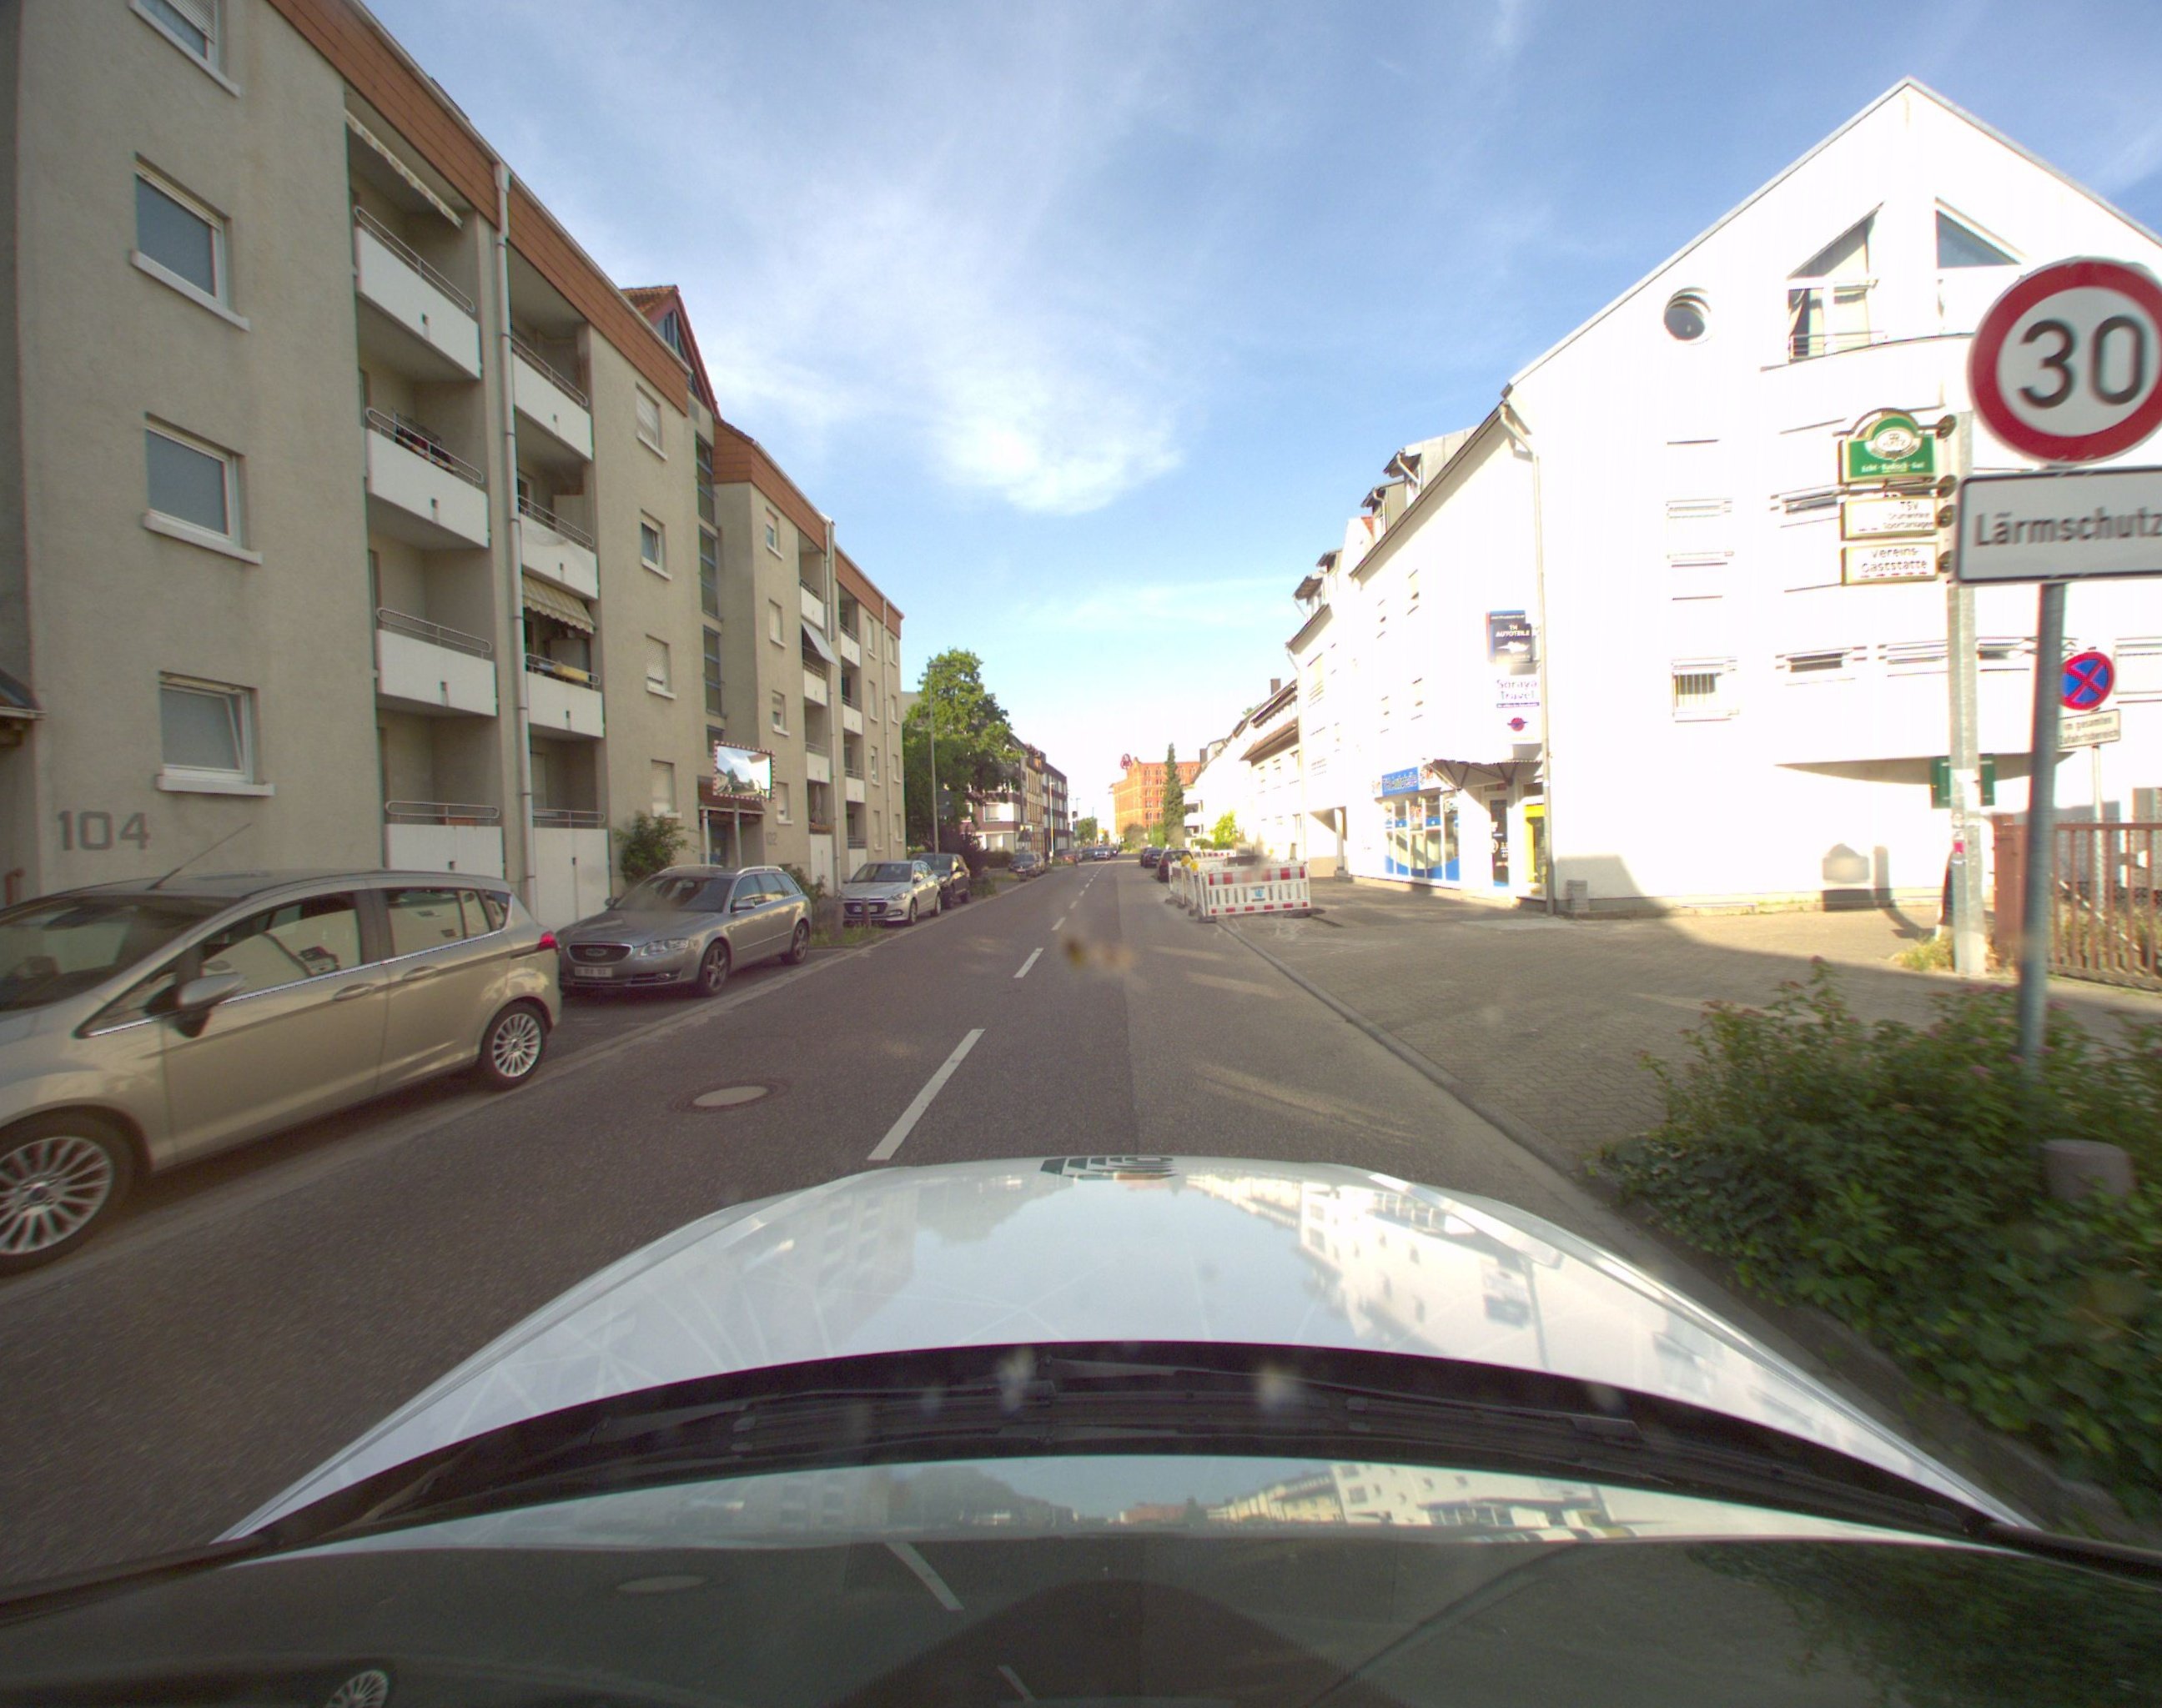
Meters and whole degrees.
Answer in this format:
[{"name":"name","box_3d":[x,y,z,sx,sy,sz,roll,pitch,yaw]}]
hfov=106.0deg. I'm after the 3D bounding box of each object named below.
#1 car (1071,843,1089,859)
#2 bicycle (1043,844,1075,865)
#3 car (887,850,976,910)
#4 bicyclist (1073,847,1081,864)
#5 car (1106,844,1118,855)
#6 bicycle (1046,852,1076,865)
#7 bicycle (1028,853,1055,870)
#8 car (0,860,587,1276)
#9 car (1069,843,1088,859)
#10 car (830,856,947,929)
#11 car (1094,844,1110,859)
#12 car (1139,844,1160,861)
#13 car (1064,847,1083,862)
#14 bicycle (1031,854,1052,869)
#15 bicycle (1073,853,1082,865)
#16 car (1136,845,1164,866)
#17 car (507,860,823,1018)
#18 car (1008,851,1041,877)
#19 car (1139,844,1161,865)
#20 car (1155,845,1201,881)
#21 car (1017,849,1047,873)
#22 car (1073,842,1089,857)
[{"name":"car","box_3d":[-0.161,-0.374,103.432,1.985,1.911,3.693,-3,0,3]},{"name":"bicycle","box_3d":[-2.078,0.042,77.861,2.905,1.777,1.203,-3,0,3]},{"name":"car","box_3d":[-4.390,0.706,24.589,1.679,1.603,4.372,-2,0,2]},{"name":"bicyclist","box_3d":[-0.321,0.101,70.865,0.588,1.442,0.751,-2,0,3]},{"name":"car","box_3d":[4.816,-0.711,126.009,1.756,1.616,4.003,-3,0,2]},{"name":"bicycle","box_3d":[-1.973,0.455,79.634,2.761,1.144,1.144,-3,0,3]},{"name":"bicycle","box_3d":[-2.944,0.537,61.037,1.996,1.217,0.707,-2,0,-4]},{"name":"car","box_3d":[-4.949,0.853,4.557,1.719,1.555,3.970,-1,0,4]},{"name":"car","box_3d":[-0.254,-0.339,98.312,1.985,1.835,3.693,-3,0,3]},{"name":"car","box_3d":[-4.444,0.822,19.458,1.680,1.454,4.142,-1,1,1]},{"name":"car","box_3d":[2.522,-0.317,97.689,1.756,1.616,4.003,-3,0,2]},{"name":"car","box_3d":[6.649,-0.193,79.319,1.756,1.526,4.003,-3,0,2]},{"name":"car","box_3d":[-0.787,0.057,87.498,1.832,1.464,3.587,-2,1,3]},{"name":"bicycle","box_3d":[-3.008,0.566,62.631,1.581,1.041,0.707,-2,0,-3]},{"name":"bicycle","box_3d":[-0.313,0.446,70.836,0.606,0.942,1.813,-2,1,4]},{"name":"car","box_3d":[5.236,0.122,62.104,1.852,1.472,4.002,-3,0,2]},{"name":"car","box_3d":[-5.039,0.906,10.698,1.801,1.521,4.371,-1,1,1]},{"name":"car","box_3d":[-3.386,0.584,49.188,1.567,1.420,3.806,-2,1,2]},{"name":"car","box_3d":[5.665,-0.007,67.399,1.595,1.646,3.687,-1,1,2]},{"name":"car","box_3d":[4.440,0.385,37.714,1.822,1.482,3.946,-3,1,3]},{"name":"car","box_3d":[-3.303,0.449,55.190,1.670,1.501,4.001,-2,1,1]},{"name":"car","box_3d":[0.023,-0.649,113.972,1.985,1.881,4.003,-2,0,3]}]
